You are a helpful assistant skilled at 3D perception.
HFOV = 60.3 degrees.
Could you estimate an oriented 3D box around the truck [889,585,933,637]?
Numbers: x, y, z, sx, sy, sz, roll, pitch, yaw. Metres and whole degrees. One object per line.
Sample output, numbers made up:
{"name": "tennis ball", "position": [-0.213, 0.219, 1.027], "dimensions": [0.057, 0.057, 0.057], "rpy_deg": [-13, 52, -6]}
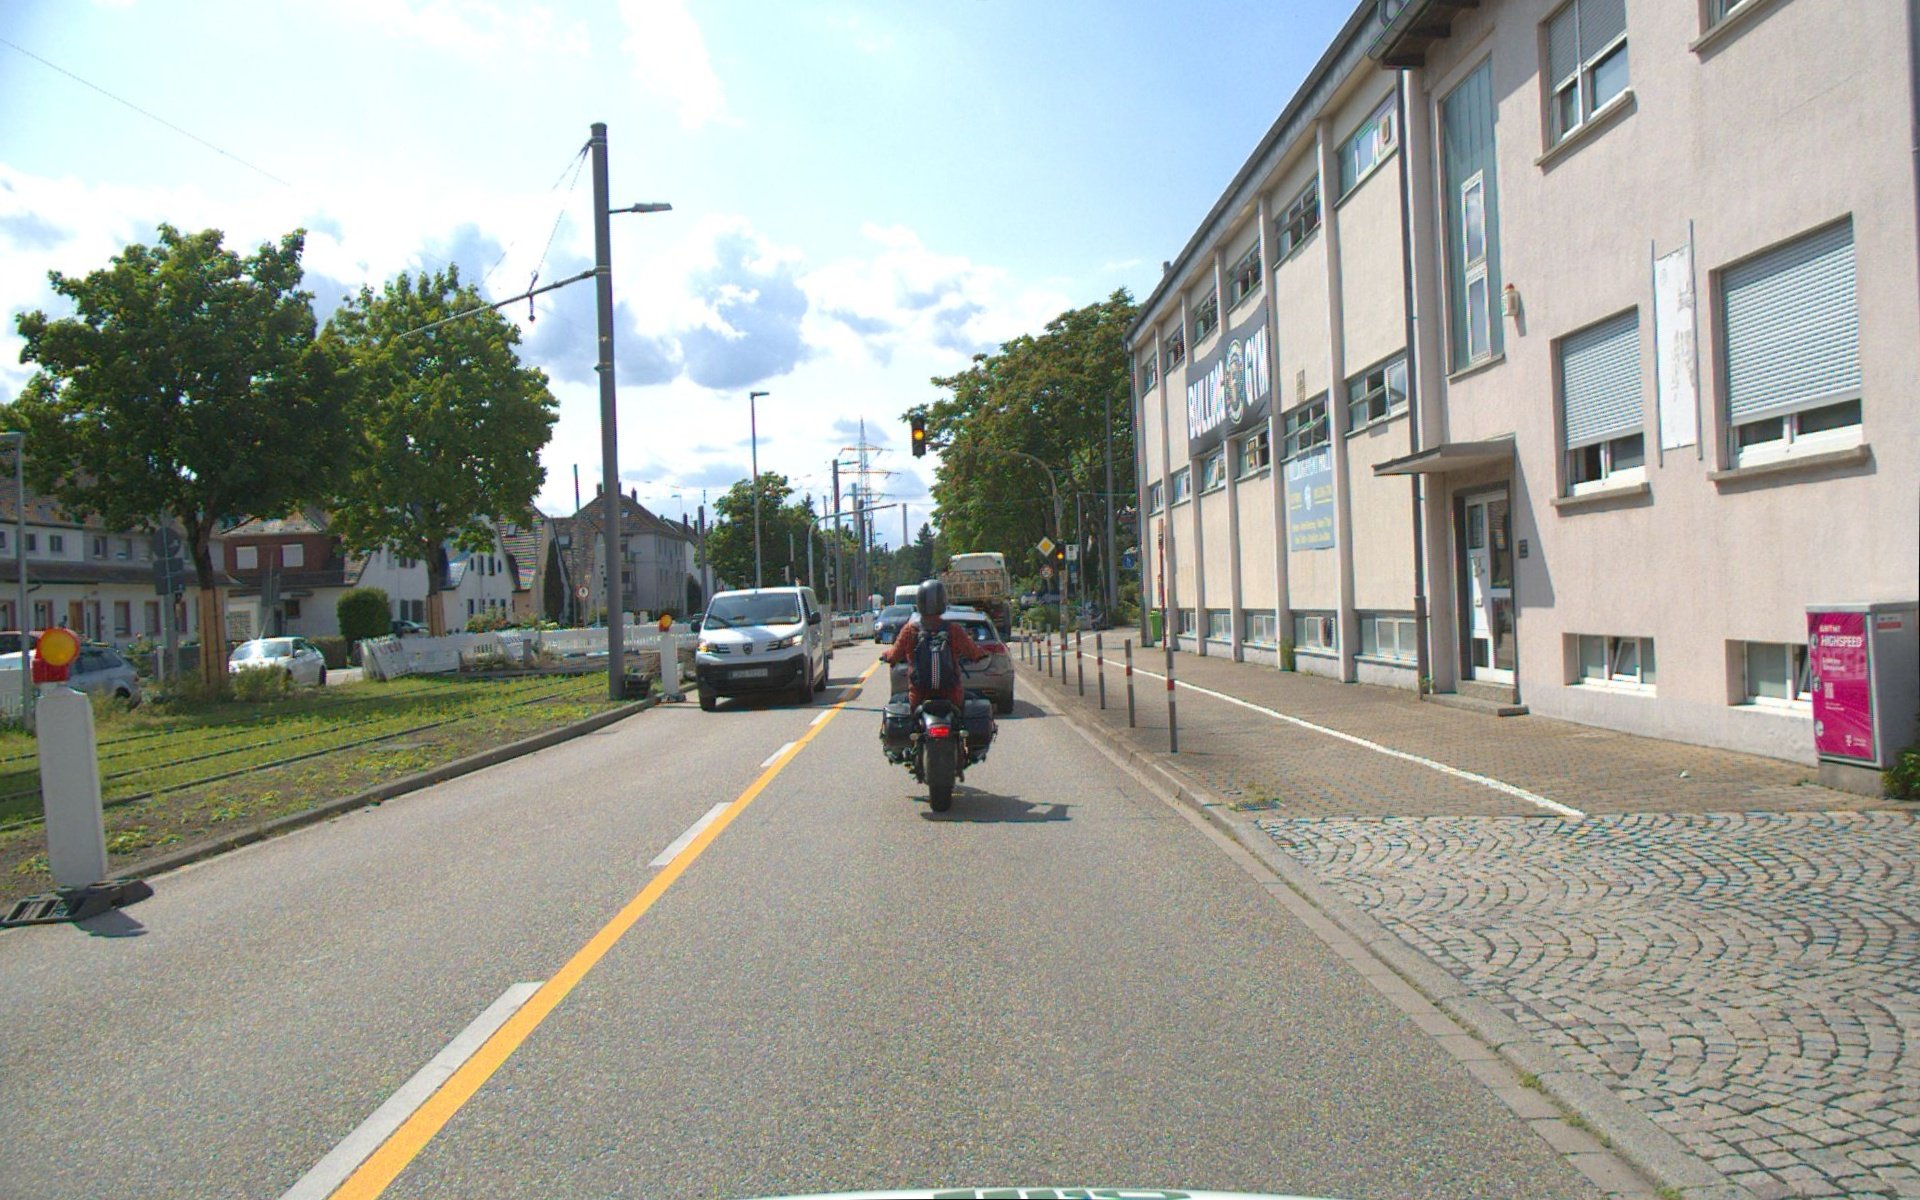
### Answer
{"name": "truck", "position": [-2.562, 0.543, 87.876], "dimensions": [2.050, 2.519, 5.196], "rpy_deg": [-4, 1, 0]}

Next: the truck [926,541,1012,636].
{"name": "truck", "position": [0.421, -0.326, 60.563], "dimensions": [2.906, 3.229, 7.765], "rpy_deg": [-1, -1, 2]}

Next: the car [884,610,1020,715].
{"name": "car", "position": [-0.201, 0.869, 24.650], "dimensions": [1.698, 1.428, 4.082], "rpy_deg": [0, 0, -5]}

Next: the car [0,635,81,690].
{"name": "car", "position": [-29.131, 1.951, 50.182], "dimensions": [3.906, 1.536, 1.725], "rpy_deg": [-3, 0, -2]}

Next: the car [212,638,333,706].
{"name": "car", "position": [-16.697, 1.703, 40.355], "dimensions": [1.511, 1.400, 4.246], "rpy_deg": [-4, 0, -6]}

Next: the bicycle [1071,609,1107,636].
{"name": "bicycle", "position": [5.981, 1.047, 76.775], "dimensions": [1.672, 1.192, 0.438], "rpy_deg": [-1, -1, 4]}

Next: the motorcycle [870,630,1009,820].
{"name": "motorcycle", "position": [-0.151, 0.859, 12.313], "dimensions": [0.923, 1.221, 2.472], "rpy_deg": [0, 0, -1]}

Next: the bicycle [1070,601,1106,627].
{"name": "bicycle", "position": [6.001, 0.650, 77.325], "dimensions": [1.672, 1.192, 0.438], "rpy_deg": [-1, -1, 4]}

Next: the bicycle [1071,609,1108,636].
{"name": "bicycle", "position": [5.961, 1.036, 76.303], "dimensions": [1.672, 1.192, 0.438], "rpy_deg": [-1, -1, 4]}

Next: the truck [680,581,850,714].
{"name": "truck", "position": [-3.224, 0.724, 28.414], "dimensions": [1.782, 1.942, 5.119], "rpy_deg": [-4, 0, 5]}

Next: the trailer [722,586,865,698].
{"name": "trailer", "position": [-3.168, 0.796, 32.650], "dimensions": [2.020, 1.867, 5.486], "rpy_deg": [-4, -1, 1]}

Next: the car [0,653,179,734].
{"name": "car", "position": [-15.695, 1.637, 29.813], "dimensions": [1.472, 1.197, 3.747], "rpy_deg": [-2, 0, -1]}

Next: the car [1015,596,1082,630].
{"name": "car", "position": [5.173, 0.750, 96.378], "dimensions": [1.773, 1.959, 3.972], "rpy_deg": [-2, -1, 44]}

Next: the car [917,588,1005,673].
{"name": "car", "position": [0.073, 0.647, 38.659], "dimensions": [1.862, 1.742, 4.720], "rpy_deg": [-3, 1, 1]}

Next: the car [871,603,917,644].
{"name": "car", "position": [-2.608, 0.919, 66.232], "dimensions": [1.611, 1.524, 4.269], "rpy_deg": [-2, 0, 0]}

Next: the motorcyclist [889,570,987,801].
{"name": "motorcyclist", "position": [-0.158, 0.610, 12.103], "dimensions": [0.684, 1.632, 0.692], "rpy_deg": [-1, -1, -1]}
